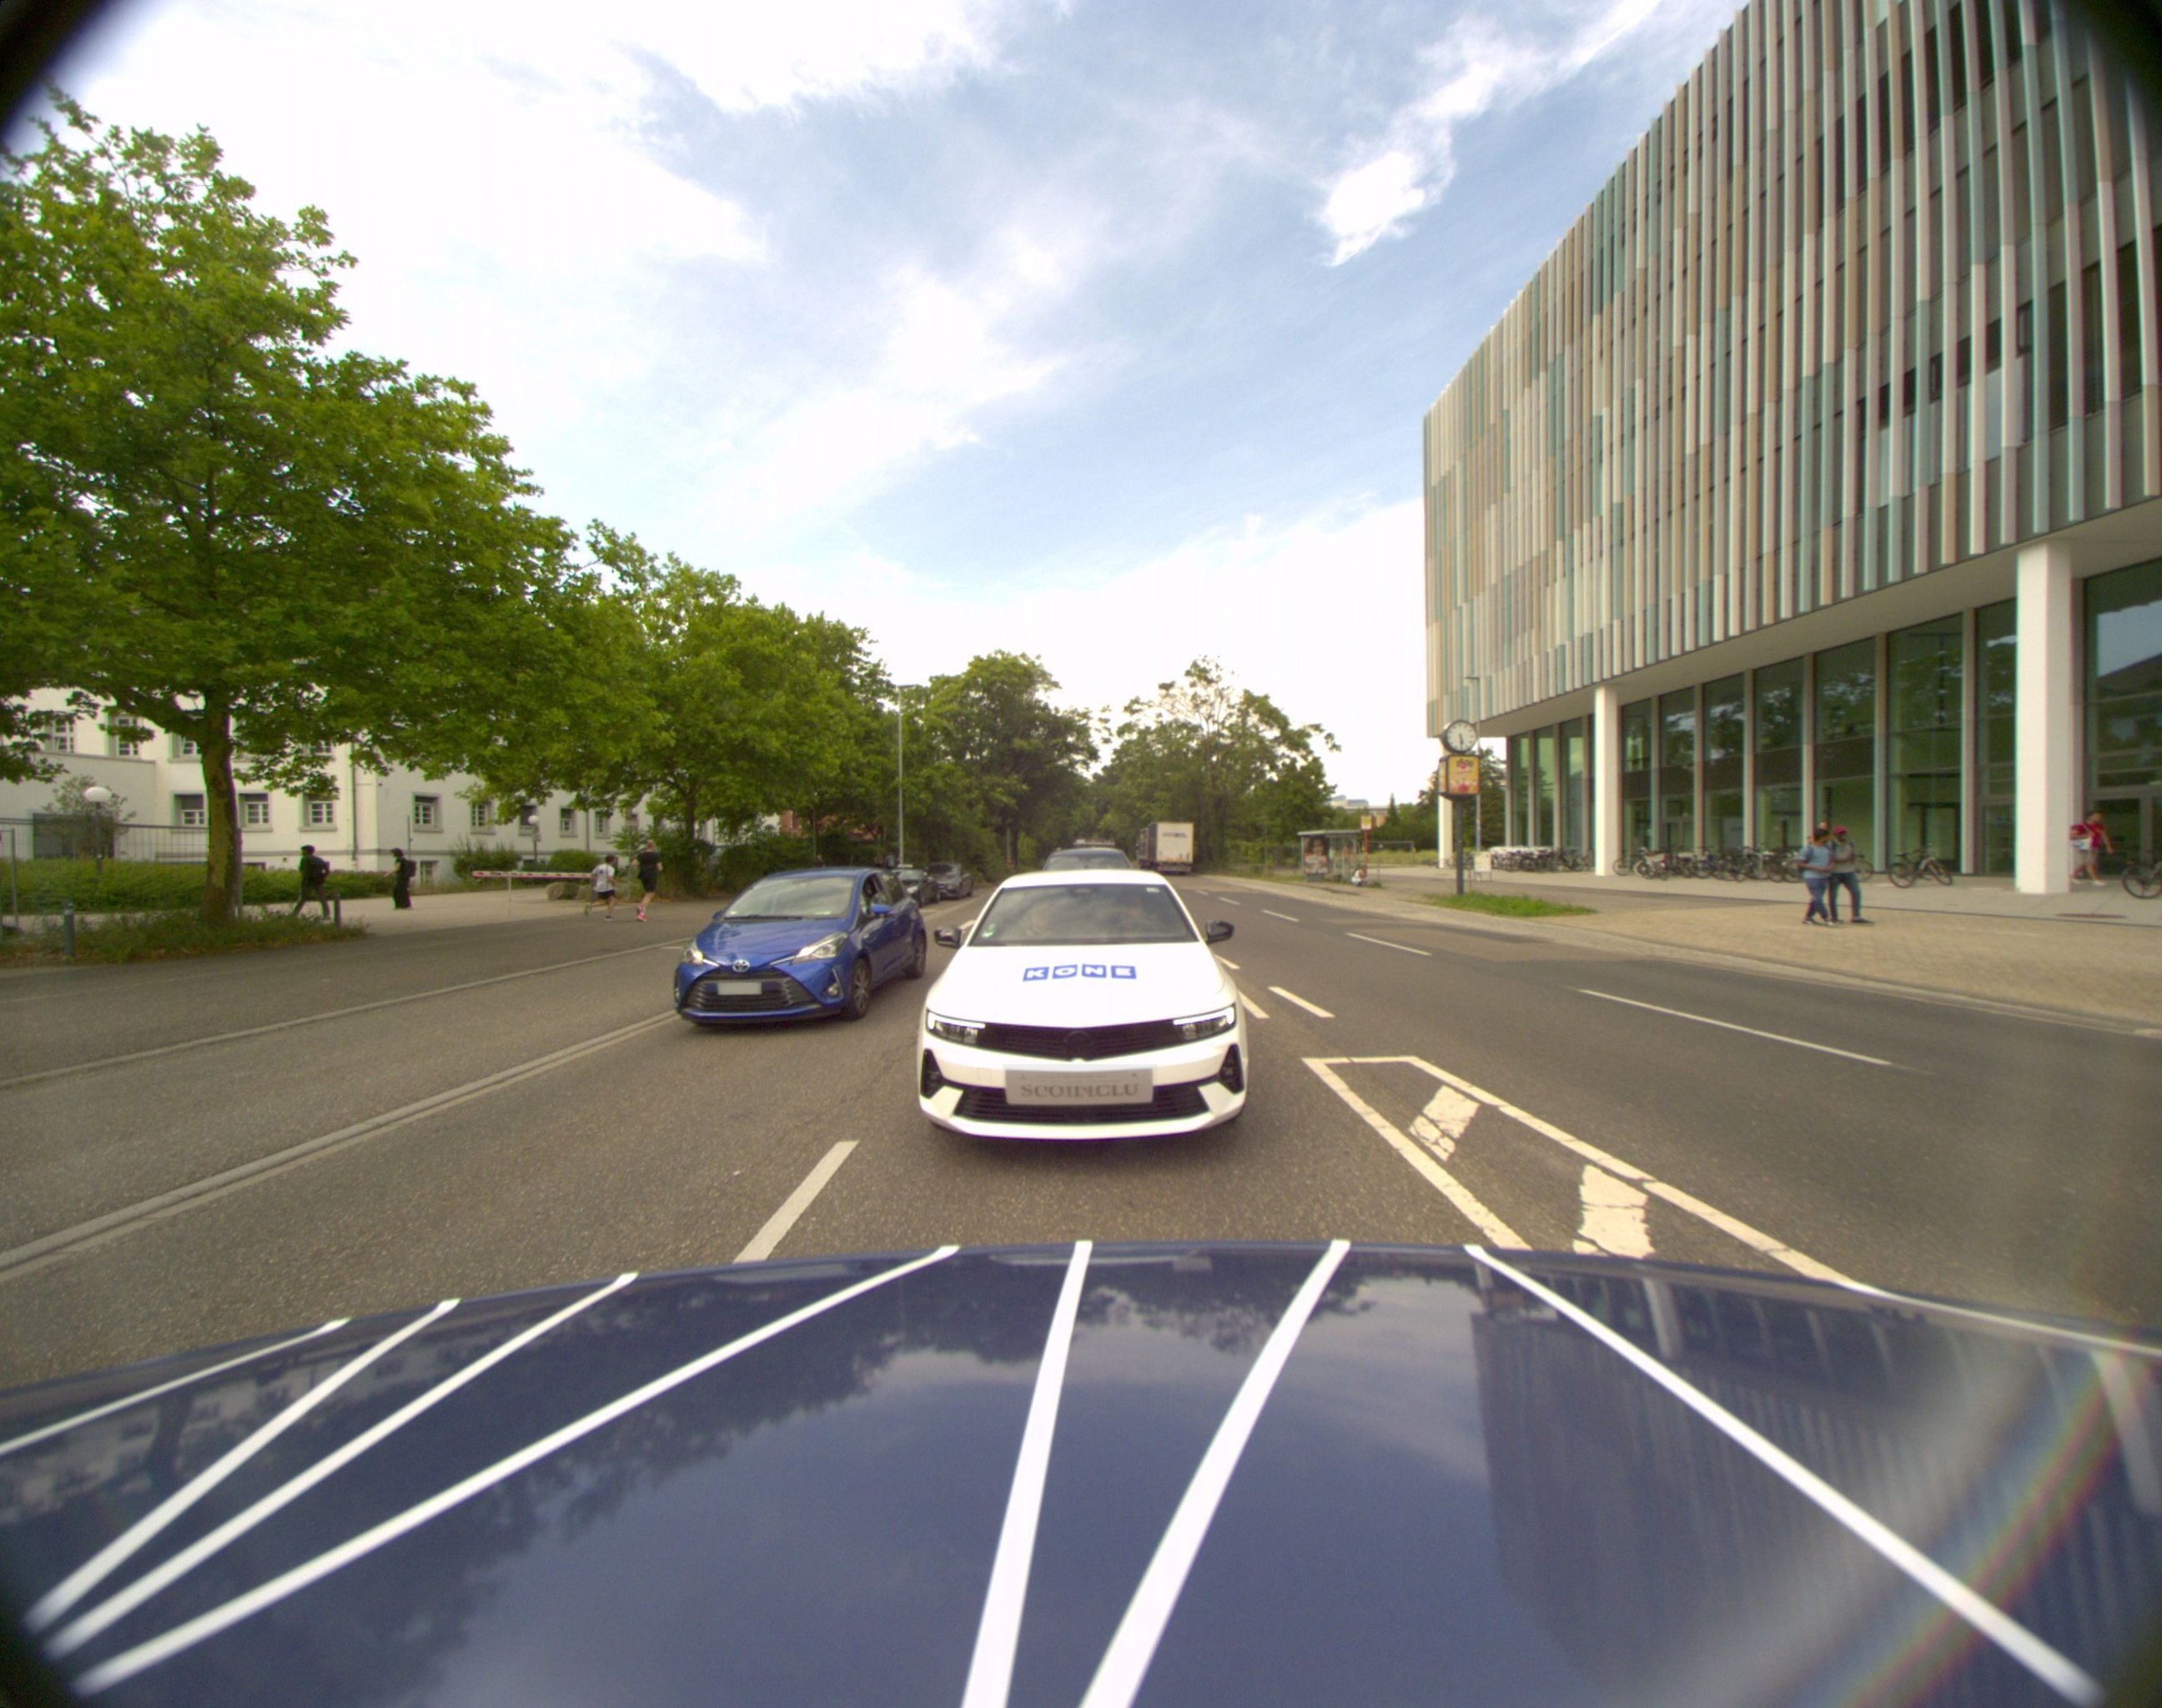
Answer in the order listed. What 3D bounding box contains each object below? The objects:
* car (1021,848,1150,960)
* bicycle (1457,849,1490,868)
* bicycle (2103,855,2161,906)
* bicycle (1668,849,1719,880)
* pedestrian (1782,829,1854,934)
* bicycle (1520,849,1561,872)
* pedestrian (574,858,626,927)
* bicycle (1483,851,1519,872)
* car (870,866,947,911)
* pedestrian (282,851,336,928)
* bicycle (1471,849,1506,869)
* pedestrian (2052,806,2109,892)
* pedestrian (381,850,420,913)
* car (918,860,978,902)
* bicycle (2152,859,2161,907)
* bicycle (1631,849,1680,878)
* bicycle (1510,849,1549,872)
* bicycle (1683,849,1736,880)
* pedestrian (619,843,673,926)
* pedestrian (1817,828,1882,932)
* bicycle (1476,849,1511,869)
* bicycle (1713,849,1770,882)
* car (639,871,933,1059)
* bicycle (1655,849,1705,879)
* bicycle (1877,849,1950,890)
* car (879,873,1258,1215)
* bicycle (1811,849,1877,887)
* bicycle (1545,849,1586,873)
[{"bbox_3d":[0.095,0.798,13.953,1.904,1.639,4.645,-2,-1,1],"label":"car"},{"bbox_3d":[22.655,0.238,43.856,1.703,1.017,0.434,-3,1,-4],"label":"bicycle"},{"bbox_3d":[21.639,0.523,15.358,1.546,0.932,0.389,-3,1,-4],"label":"bicycle"},{"bbox_3d":[22.181,0.373,27.524,1.581,1.017,0.389,-3,1,-4],"label":"bicycle"},{"bbox_3d":[13.242,0.479,13.667,0.512,1.826,0.772,-1,0,1],"label":"pedestrian"},{"bbox_3d":[22.388,0.305,37.020,1.703,1.017,0.434,-3,1,-4],"label":"bicycle"},{"bbox_3d":[-11.249,0.892,17.783,0.646,1.556,0.805,-1,1,3],"label":"pedestrian"},{"bbox_3d":[22.280,0.374,40.310,1.703,1.017,0.434,-3,1,-4],"label":"bicycle"},{"bbox_3d":[-5.803,1.117,25.968,1.703,1.361,3.832,-1,0,1],"label":"car"},{"bbox_3d":[-17.825,0.810,17.563,0.586,1.729,0.594,-1,1,2],"label":"pedestrian"},{"bbox_3d":[22.717,0.252,42.372,1.703,1.017,0.434,-3,1,-4],"label":"bicycle"},{"bbox_3d":[24.136,-0.125,18.358,0.512,2.031,0.625,-1,0,6],"label":"pedestrian"},{"bbox_3d":[-19.226,0.777,21.476,0.530,1.742,0.594,-1,1,5],"label":"pedestrian"},{"bbox_3d":[-5.240,1.030,30.336,1.606,1.454,4.018,1,0,1],"label":"car"},{"bbox_3d":[21.703,0.528,14.692,1.546,0.932,0.394,-3,1,-4],"label":"bicycle"},{"bbox_3d":[22.098,0.357,29.228,1.581,1.017,0.389,-3,1,-4],"label":"bicycle"},{"bbox_3d":[22.358,0.316,37.870,1.703,1.017,0.434,-3,1,-4],"label":"bicycle"},{"bbox_3d":[22.221,0.360,26.871,1.581,1.017,0.389,-3,1,-4],"label":"bicycle"},{"bbox_3d":[-10.342,0.709,18.096,0.798,1.922,0.760,-1,1,1],"label":"pedestrian"},{"bbox_3d":[13.775,0.458,13.631,0.512,1.826,0.624,-1,0,1],"label":"pedestrian"},{"bbox_3d":[22.530,0.269,41.498,1.703,1.017,0.434,-3,1,-4],"label":"bicycle"},{"bbox_3d":[21.982,0.389,25.294,1.581,1.017,0.389,-3,1,-4],"label":"bicycle"},{"bbox_3d":[-2.917,1.005,8.471,1.703,1.485,3.832,-1,0,1],"label":"car"},{"bbox_3d":[22.172,0.363,28.134,1.581,1.017,0.389,-3,1,-4],"label":"bicycle"},{"bbox_3d":[22.119,0.408,20.191,1.581,1.017,0.389,-3,1,-4],"label":"bicycle"},{"bbox_3d":[-0.026,0.953,5.940,1.744,1.430,4.782,-1,0,1],"label":"car"},{"bbox_3d":[22.312,0.413,22.229,1.581,1.017,0.389,-3,1,-4],"label":"bicycle"},{"bbox_3d":[22.548,0.319,35.369,1.703,1.017,0.389,-3,1,-4],"label":"bicycle"}]
